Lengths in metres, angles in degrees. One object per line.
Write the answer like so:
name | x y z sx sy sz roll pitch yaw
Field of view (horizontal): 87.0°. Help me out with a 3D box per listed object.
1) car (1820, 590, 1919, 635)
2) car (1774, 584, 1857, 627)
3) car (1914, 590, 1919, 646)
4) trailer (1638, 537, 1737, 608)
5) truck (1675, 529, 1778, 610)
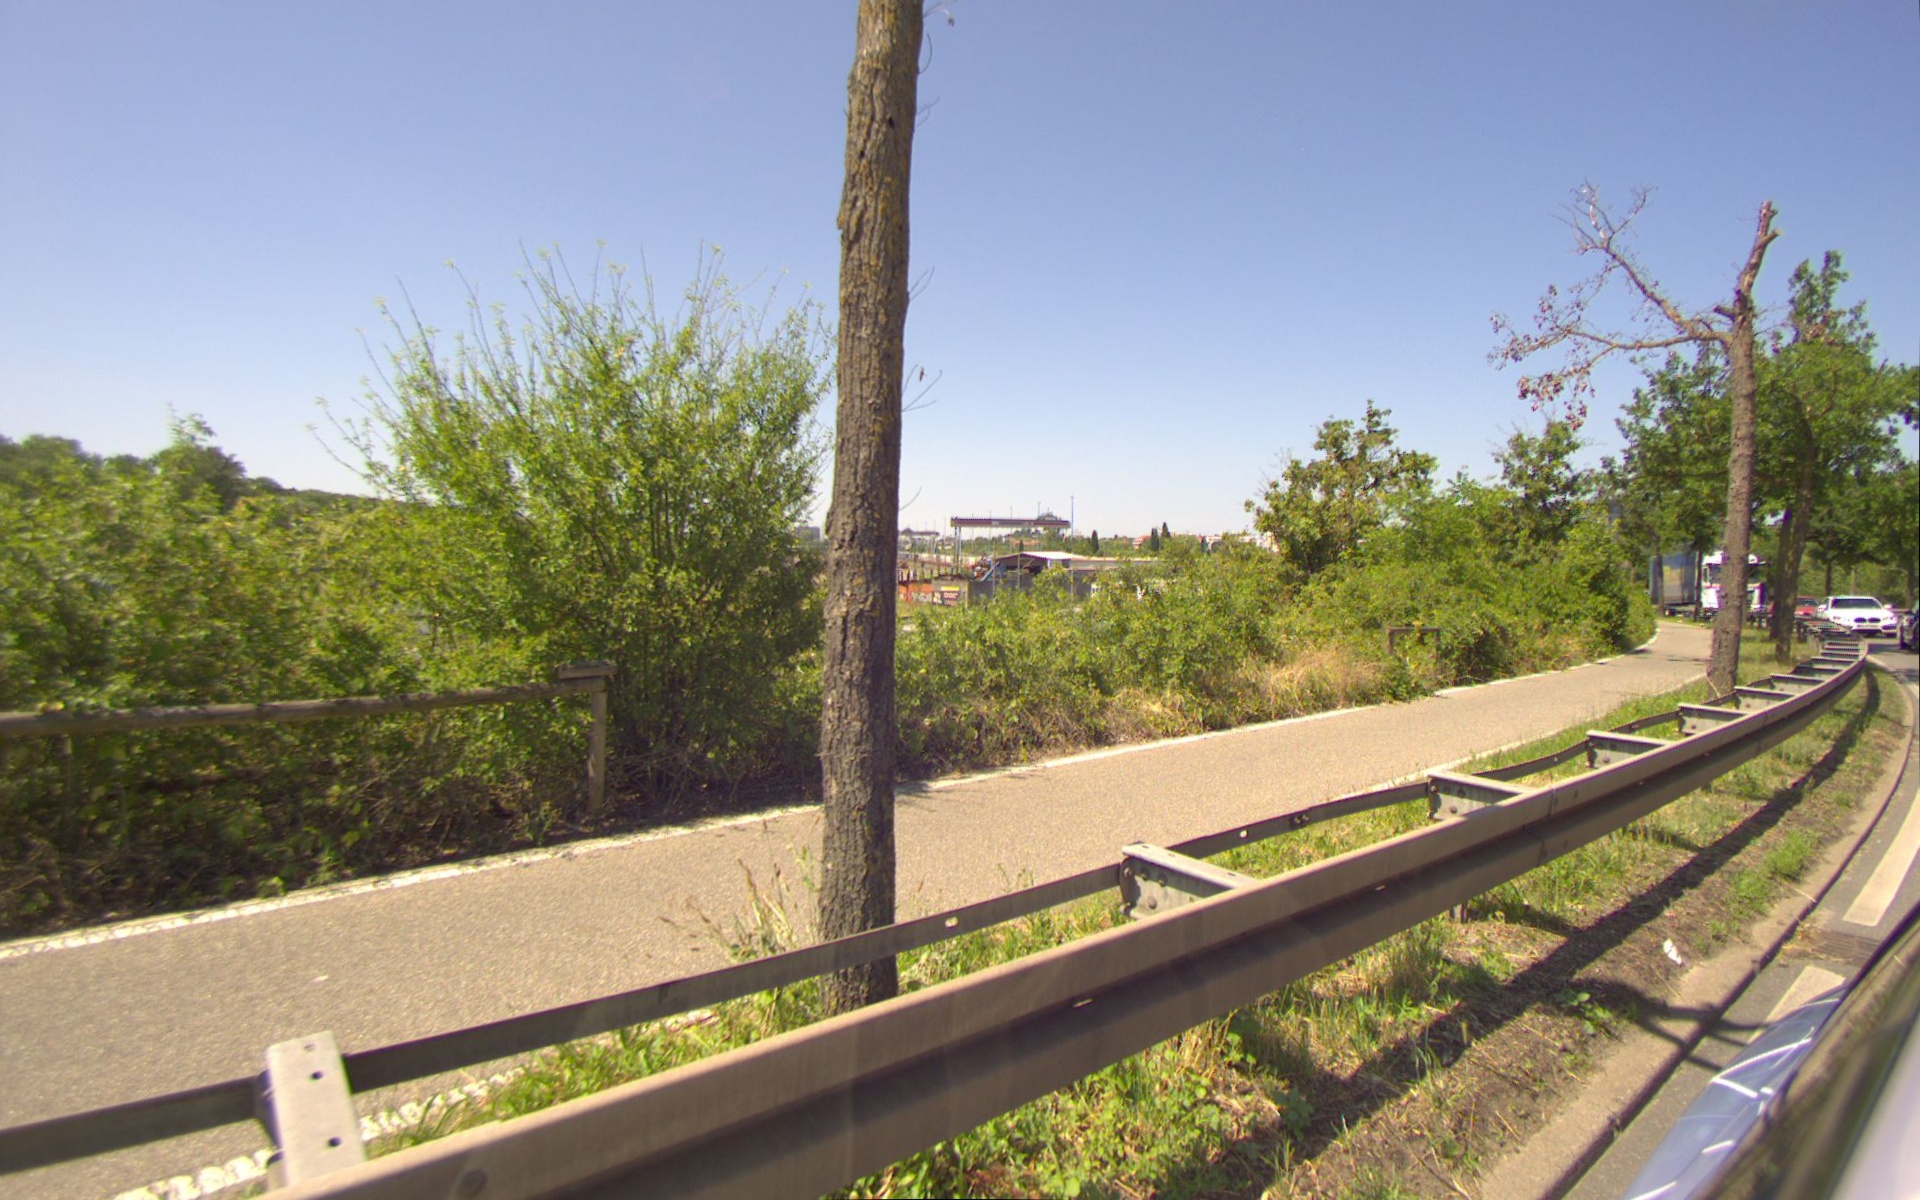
car | 30.976 0.380 34.581 1.803 1.446 3.675 -1 0 31
car | 37.853 0.206 44.905 1.884 1.675 4.219 -1 2 27
car | 25.127 0.469 25.352 1.563 1.434 4.062 -1 0 41
trailer | 48.550 -1.737 68.014 2.852 4.267 13.887 0 0 25
truck | 44.115 -1.647 58.532 2.829 4.323 8.741 -1 0 25
